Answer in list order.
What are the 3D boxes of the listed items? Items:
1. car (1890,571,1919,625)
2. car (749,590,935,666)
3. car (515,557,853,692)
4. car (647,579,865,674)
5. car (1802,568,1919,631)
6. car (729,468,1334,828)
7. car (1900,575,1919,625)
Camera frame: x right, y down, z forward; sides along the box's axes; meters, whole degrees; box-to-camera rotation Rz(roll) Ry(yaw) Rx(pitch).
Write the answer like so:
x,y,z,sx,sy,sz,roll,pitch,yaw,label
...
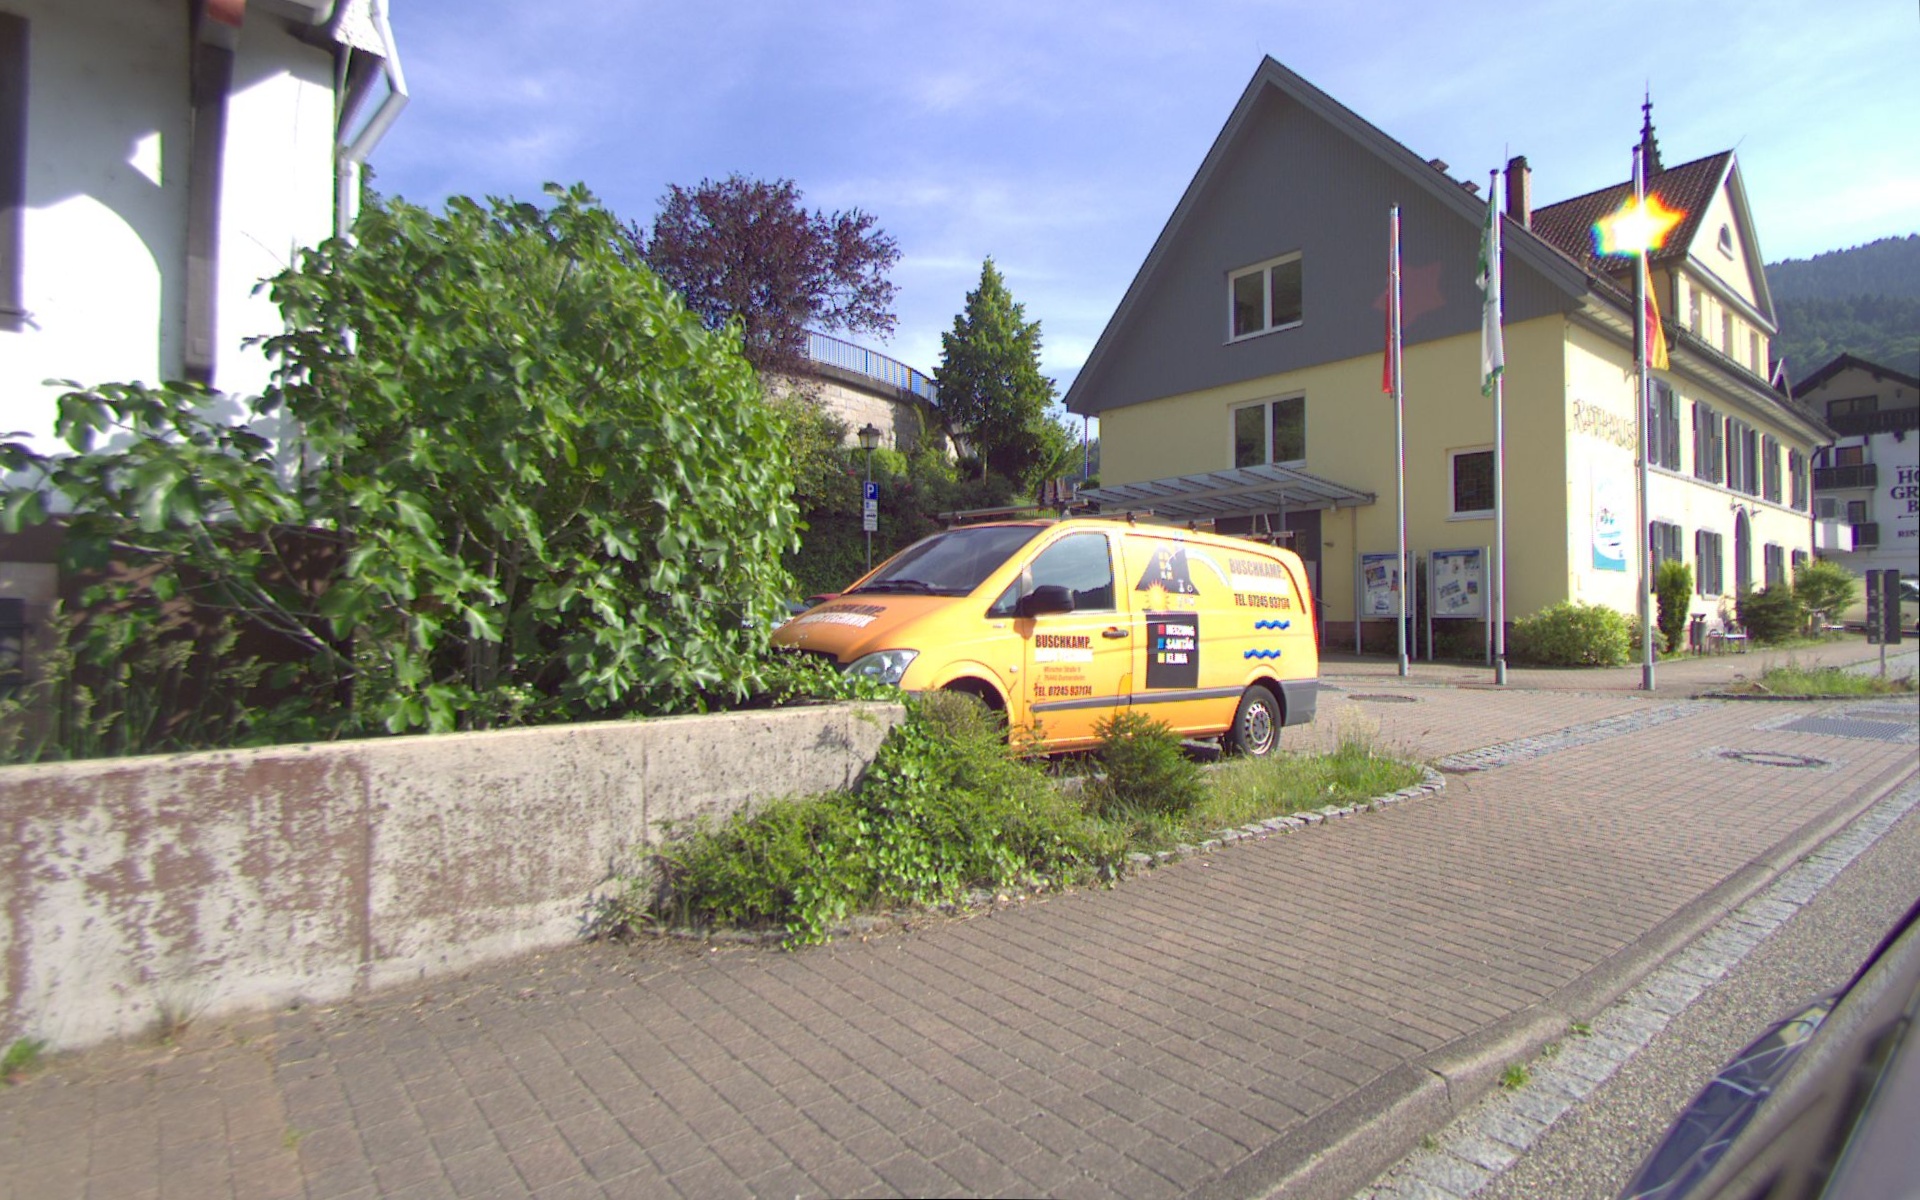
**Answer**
x,y,z,sx,sy,sz,roll,pitch,yaw,label
35.653,-0.004,35.821,1.346,1.916,3.759,0,3,-37,car
-2.421,0.482,20.146,1.728,1.305,3.887,-1,2,-43,car
-3.702,0.342,13.905,4.080,1.599,1.756,3,0,-38,car
-3.645,0.377,17.766,3.880,1.469,1.794,1,2,42,car
32.567,-0.018,35.391,1.682,1.982,4.458,0,4,-37,car
0.793,0.266,7.949,4.748,2.023,1.912,0,0,-39,car
37.665,0.051,37.416,1.653,1.905,4.000,0,2,-36,car
